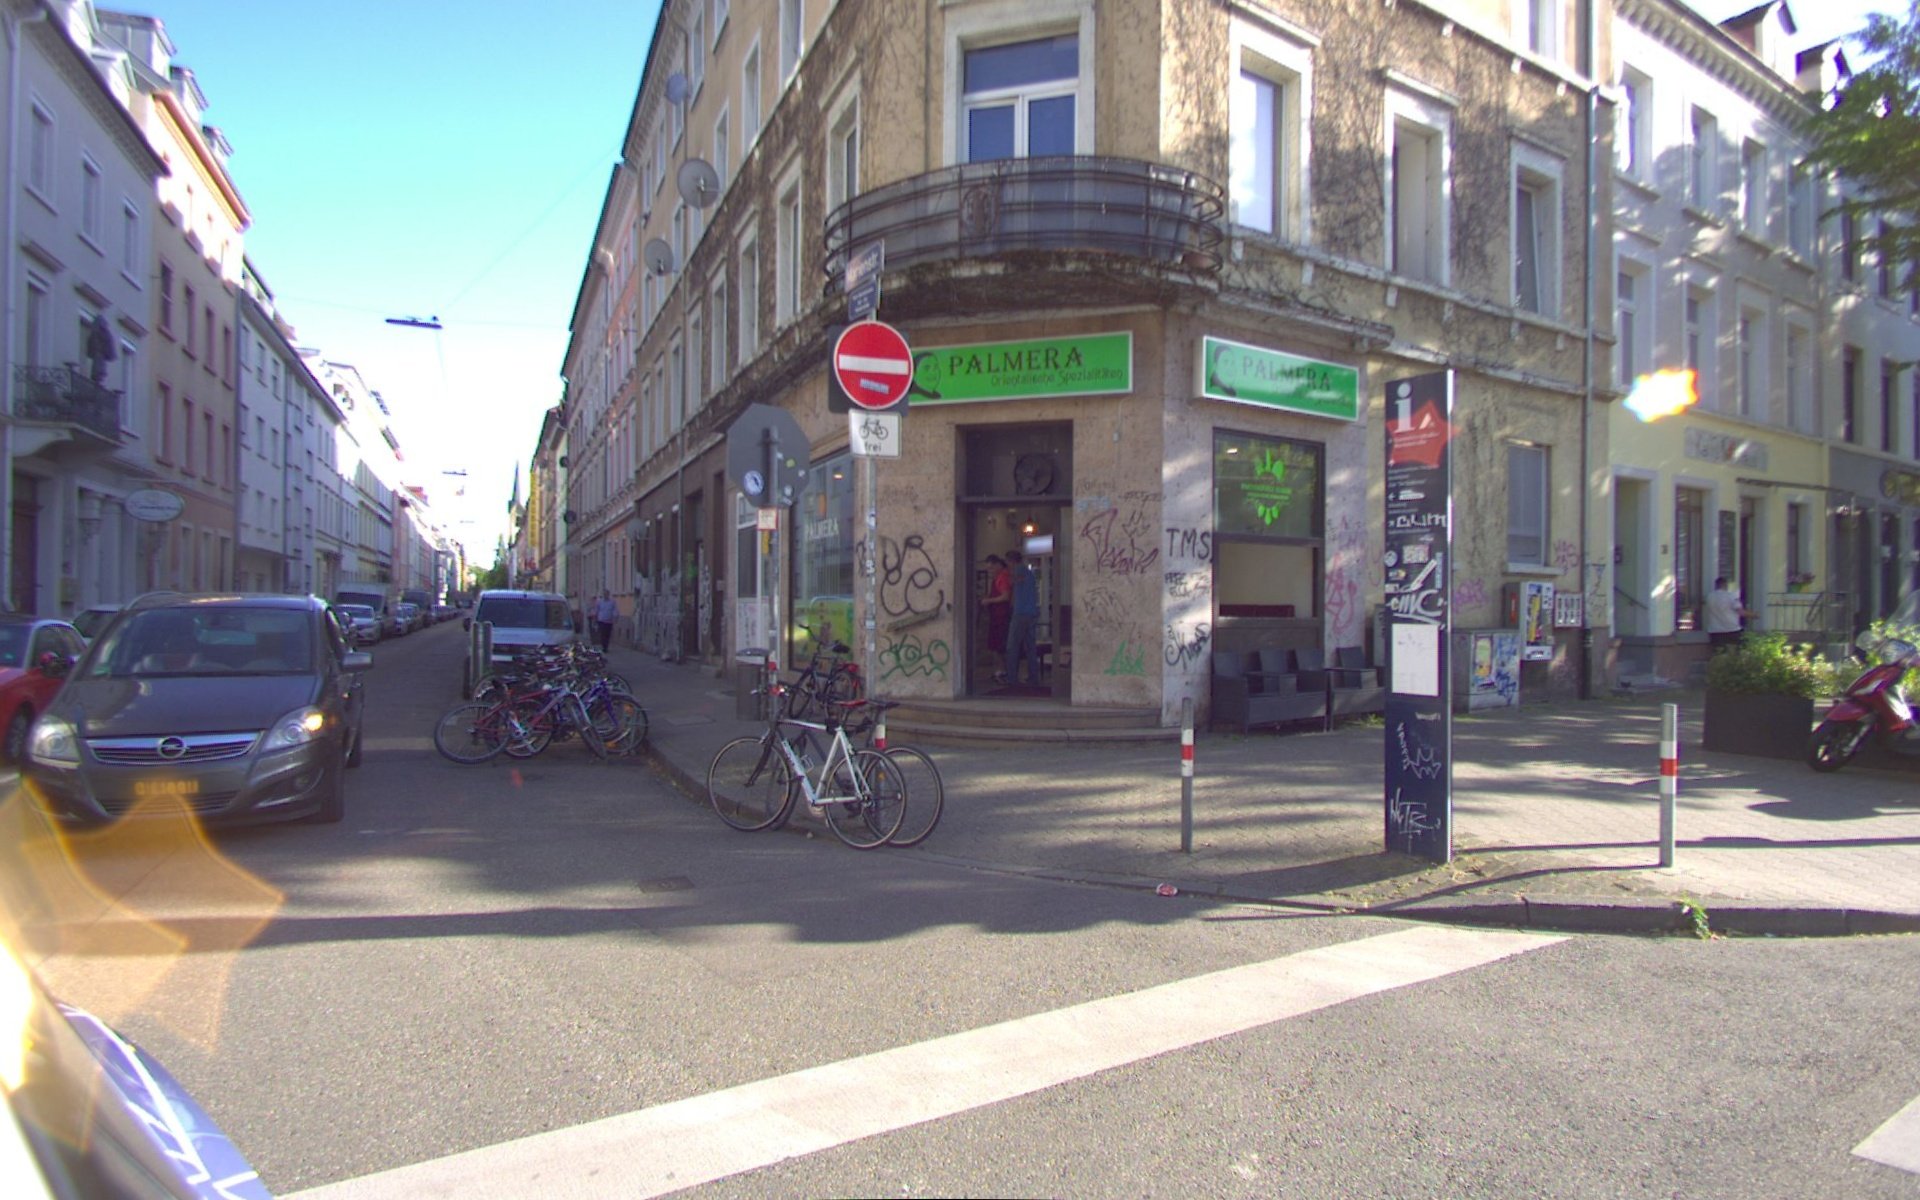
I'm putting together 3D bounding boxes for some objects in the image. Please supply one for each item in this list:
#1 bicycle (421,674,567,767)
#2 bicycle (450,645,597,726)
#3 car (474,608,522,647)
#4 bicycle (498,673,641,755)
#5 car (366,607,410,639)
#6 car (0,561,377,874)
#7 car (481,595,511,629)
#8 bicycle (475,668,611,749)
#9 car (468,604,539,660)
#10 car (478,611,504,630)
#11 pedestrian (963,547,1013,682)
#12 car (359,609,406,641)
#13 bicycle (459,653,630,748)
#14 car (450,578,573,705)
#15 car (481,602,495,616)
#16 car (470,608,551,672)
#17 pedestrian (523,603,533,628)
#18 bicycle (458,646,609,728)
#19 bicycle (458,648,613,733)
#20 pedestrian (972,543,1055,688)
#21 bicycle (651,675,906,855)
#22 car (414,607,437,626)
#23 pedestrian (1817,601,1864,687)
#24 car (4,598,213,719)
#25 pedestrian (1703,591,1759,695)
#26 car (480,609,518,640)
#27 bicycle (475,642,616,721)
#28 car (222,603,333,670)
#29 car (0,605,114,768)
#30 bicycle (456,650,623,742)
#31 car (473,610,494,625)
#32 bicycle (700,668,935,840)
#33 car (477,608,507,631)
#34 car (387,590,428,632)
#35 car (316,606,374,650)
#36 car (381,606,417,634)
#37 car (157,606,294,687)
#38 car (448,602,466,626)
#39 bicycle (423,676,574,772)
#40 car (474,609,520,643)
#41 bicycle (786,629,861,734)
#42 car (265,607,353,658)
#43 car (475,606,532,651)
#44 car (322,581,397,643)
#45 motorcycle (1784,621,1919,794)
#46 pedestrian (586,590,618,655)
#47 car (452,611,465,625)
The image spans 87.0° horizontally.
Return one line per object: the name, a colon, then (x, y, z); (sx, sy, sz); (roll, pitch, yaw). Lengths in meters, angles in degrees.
bicycle: (-4.681, 1.190, 10.194); (1.291, 0.824, 0.356); (1, -1, -35)
bicycle: (-5.693, 1.096, 13.231); (1.740, 0.969, 0.406); (1, -1, -26)
car: (-18.596, 1.068, 40.680); (1.655, 1.474, 4.327); (0, -1, -25)
bicycle: (-4.213, 1.216, 10.970); (1.368, 0.824, 0.362); (3, -3, -35)
car: (-30.360, 1.190, 53.789); (1.655, 1.577, 3.873); (-1, 0, -25)
car: (-5.818, 0.645, 8.014); (1.769, 1.675, 5.201); (-1, 0, -27)
car: (-37.046, 0.941, 80.721); (2.059, 2.611, 5.862); (0, -1, -26)
bicycle: (-4.565, 1.175, 11.117); (1.291, 0.824, 0.382); (3, -3, -35)
car: (-13.563, 0.932, 30.014); (1.655, 1.561, 2.969); (2, -1, -29)
car: (-34.794, 1.484, 75.065); (1.655, 1.400, 3.872); (0, -1, -25)
pedestrian: (0.369, 0.190, 13.498); (0.638, 1.754, 0.695); (0, -1, 0)
car: (-28.169, 1.194, 49.465); (1.655, 1.453, 3.872); (-1, 0, -25)
bicycle: (-4.695, 1.115, 11.492); (1.740, 0.969, 0.429); (1, -1, -33)
car: (-7.944, 0.690, 17.879); (1.655, 1.924, 4.534); (4, -2, -25)
car: (-101.407, 1.954, 217.407); (2.522, 3.070, 7.084); (-1, 0, -25)
car: (-11.560, 0.970, 25.893); (1.655, 1.485, 4.217); (3, -2, -26)
pedestrian: (-33.114, 1.195, 77.584); (0.616, 1.844, 0.596); (-1, 0, -24)
bicycle: (-5.422, 1.087, 12.895); (1.740, 0.969, 0.423); (1, -1, -26)
bicycle: (-5.225, 1.090, 12.500); (1.740, 0.969, 0.444); (1, -1, -26)
pedestrian: (0.666, 0.192, 12.700); (0.744, 1.754, 0.751); (1, -1, -29)
bicycle: (-1.214, 1.041, 6.650); (1.678, 1.054, 0.454); (-3, -2, 25)
car: (-49.377, 1.505, 93.565); (1.655, 1.610, 3.872); (-1, 0, -25)
pedestrian: (17.398, 0.857, 20.005); (0.560, 1.655, 0.541); (1, -2, -34)
car: (-12.947, 0.805, 15.643); (1.613, 1.599, 3.800); (-1, 0, -27)
pedestrian: (12.586, 0.698, 16.518); (0.560, 1.655, 0.541); (1, -2, -34)
car: (-22.784, 1.196, 50.014); (1.655, 1.474, 3.872); (0, -1, -25)
bicycle: (-5.628, 1.081, 13.757); (1.740, 0.996, 0.465); (1, -1, -26)
car: (-18.137, 0.908, 27.071); (1.655, 1.609, 4.204); (-1, 0, -23)
car: (-10.376, 0.837, 10.464); (1.622, 1.514, 3.967); (-1, 0, -27)
bicycle: (-4.895, 1.092, 11.851); (1.741, 0.969, 0.482); (1, -1, -37)
car: (-43.955, 1.611, 93.345); (1.655, 1.400, 3.872); (0, -1, -25)
bicycle: (-1.014, 1.027, 7.075); (1.654, 1.054, 0.447); (-1, -1, 25)
car: (-29.693, 1.227, 64.166); (1.655, 1.426, 3.872); (0, -1, -25)
car: (-37.544, 0.753, 68.848); (2.016, 2.698, 6.206); (-1, 0, -25)
car: (-23.435, 1.030, 38.674); (1.655, 1.571, 3.872); (-1, 0, -28)
car: (-34.992, 1.220, 63.194); (1.655, 1.647, 3.872); (-1, 0, -25)
car: (-15.595, 0.912, 21.696); (1.655, 1.522, 4.204); (-1, 0, -26)
car: (-77.575, 2.155, 156.186); (2.396, 3.450, 5.561); (-1, 0, -25)
bicycle: (-4.486, 1.185, 9.866); (1.291, 0.824, 0.372); (1, -1, -35)
car: (-20.650, 1.131, 45.244); (1.655, 1.474, 3.872); (0, -1, -21)
bicycle: (-1.607, 0.905, 11.763); (0.392, 1.100, 1.596); (1, 0, -25)
car: (-19.958, 0.960, 31.209); (1.742, 1.405, 4.509); (-1, 0, -26)
car: (-16.446, 0.994, 36.383); (1.655, 1.504, 3.623); (0, -1, -27)
car: (-26.417, 0.523, 44.719); (2.016, 2.532, 6.043); (-1, 0, -23)
motorcycle: (8.477, 0.909, 8.344); (2.410, 1.361, 0.991); (2, 0, 28)
pedestrian: (-10.449, 0.652, 29.523); (0.777, 1.844, 0.596); (-1, 0, -25)
car: (-74.341, 2.667, 150.141); (1.655, 2.105, 4.173); (-1, 0, -25)
